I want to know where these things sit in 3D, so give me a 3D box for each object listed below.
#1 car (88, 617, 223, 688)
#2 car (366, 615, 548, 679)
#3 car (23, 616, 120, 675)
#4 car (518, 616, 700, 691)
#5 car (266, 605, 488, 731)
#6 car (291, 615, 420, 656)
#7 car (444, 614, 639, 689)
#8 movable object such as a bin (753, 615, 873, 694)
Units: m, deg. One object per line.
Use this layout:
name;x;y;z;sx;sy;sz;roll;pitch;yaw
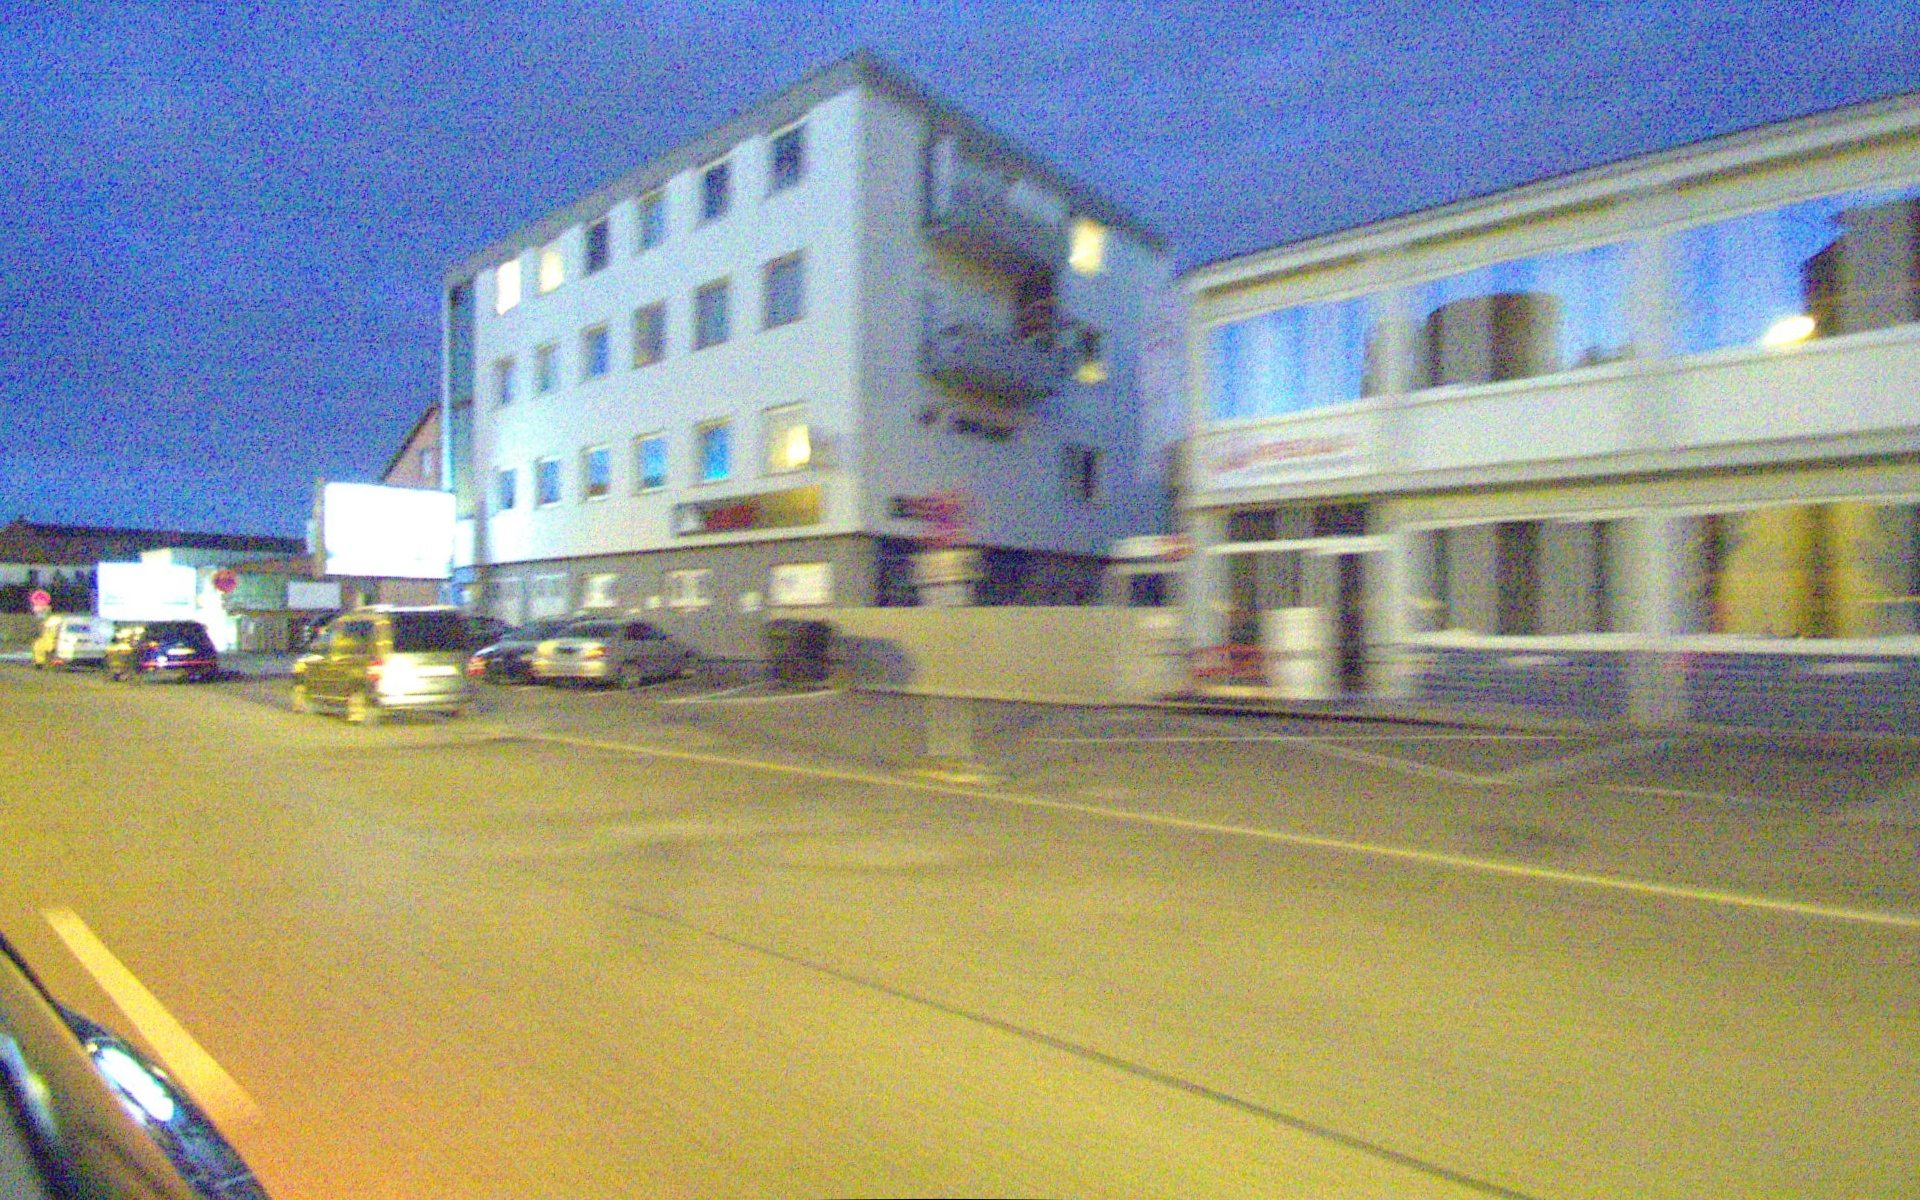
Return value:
car;-21.254;1.321;26.664;4.813;1.701;1.927;-1;-2;41
car;-13.415;1.209;27.336;1.982;1.572;4.391;0;-1;16
car;-29.581;1.469;33.645;4.875;1.812;1.785;-1;-2;41
car;-7.452;1.096;22.026;1.775;1.451;4.398;0;-1;11
car;-9.896;1.047;17.042;4.410;1.863;1.795;-1;-2;40
car;-25.539;1.481;42.848;1.922;1.666;4.352;-1;-2;43
car;-9.568;1.139;23.632;1.979;1.563;4.655;0;-1;11
movable object such as a bin;-2.990;1.075;20.670;1.608;1.511;1.838;-1;-1;41
